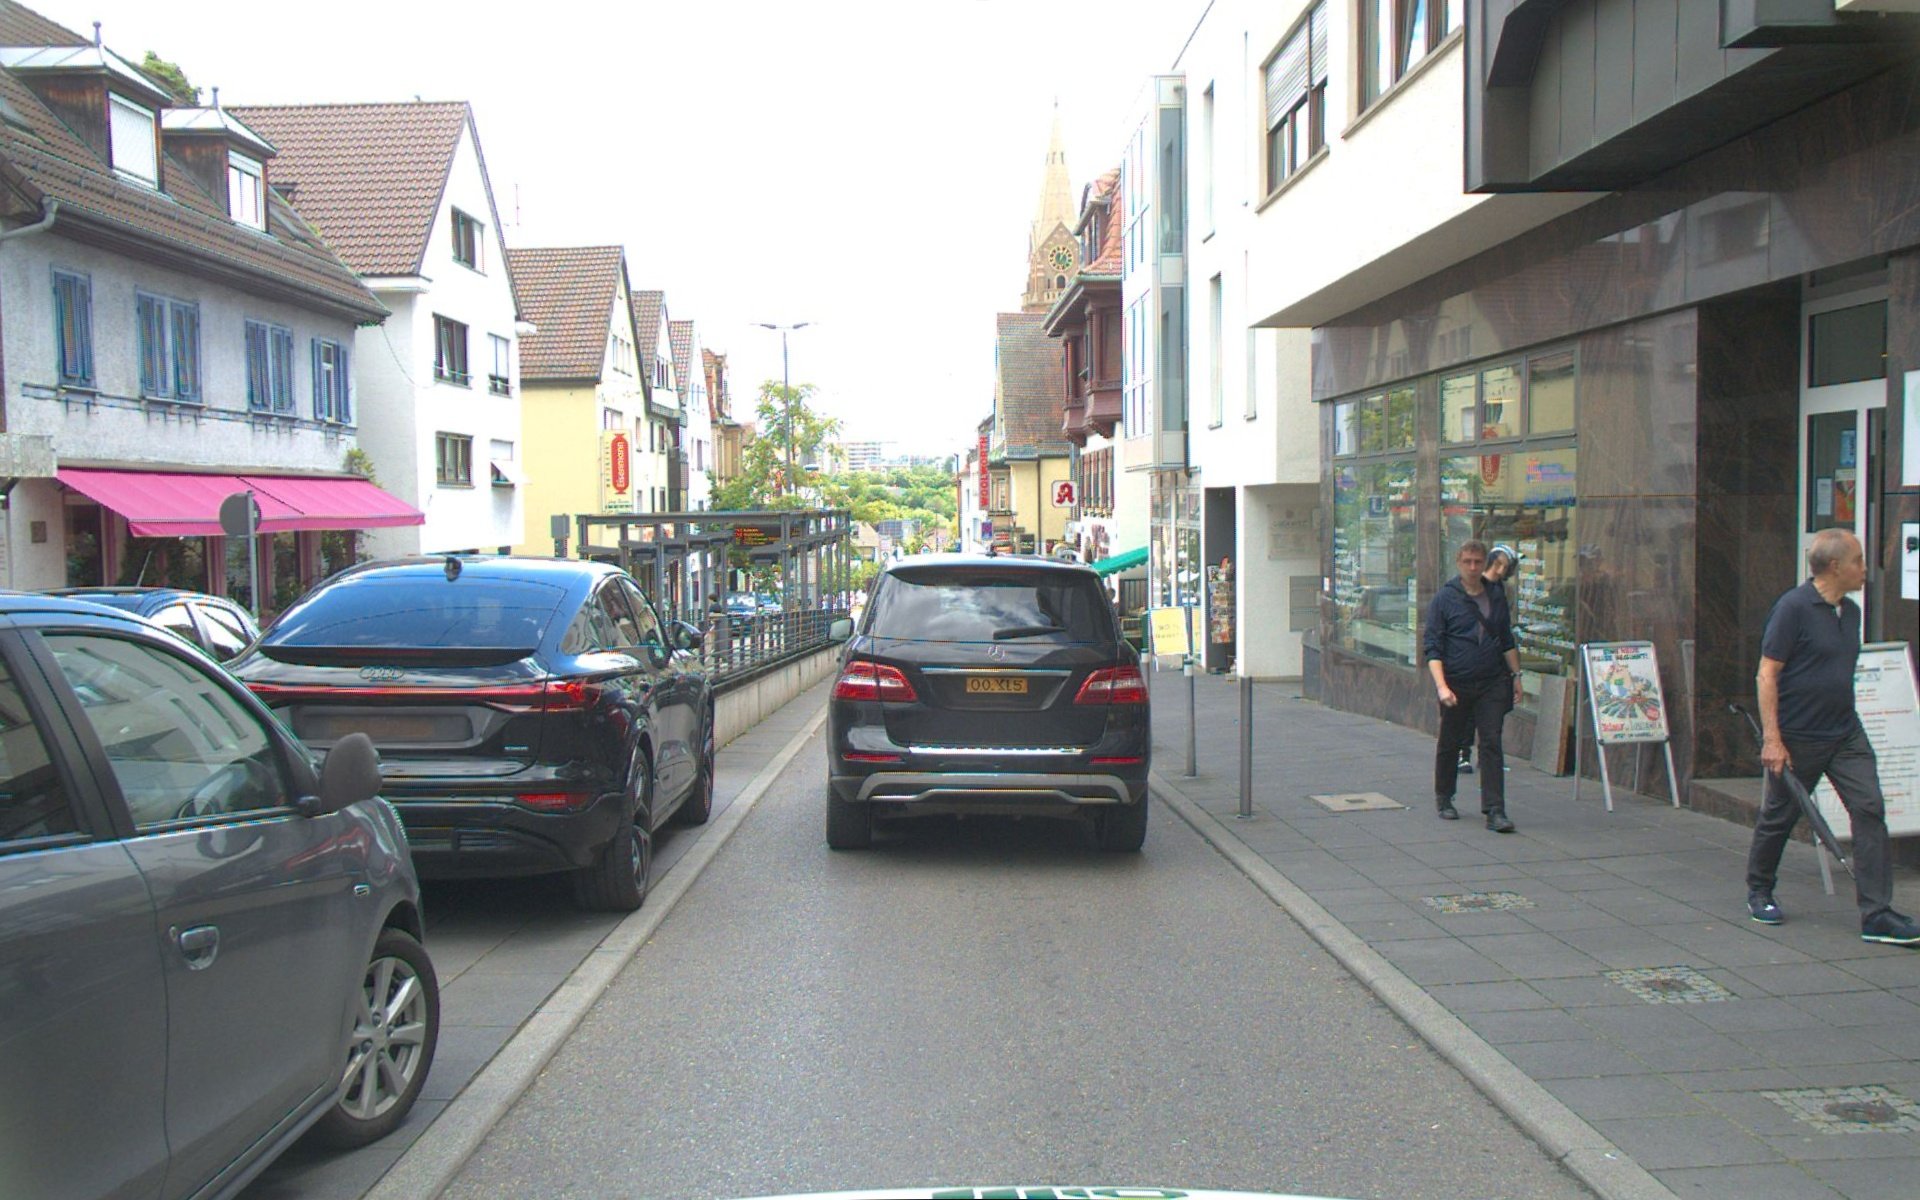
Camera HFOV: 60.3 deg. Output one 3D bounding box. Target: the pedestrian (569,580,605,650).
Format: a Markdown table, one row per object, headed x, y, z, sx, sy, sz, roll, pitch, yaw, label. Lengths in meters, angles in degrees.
| x | y | z | sx | sy | sz | roll | pitch | yaw | label |
| --- | --- | --- | --- | --- | --- | --- | --- | --- | --- |
| -9.246 | 0.363 | 41.015 | 0.710 | 1.718 | 0.768 | 1 | 0 | -2 | pedestrian |

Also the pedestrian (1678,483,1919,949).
| x | y | z | sx | sy | sz | roll | pitch | yaw | label |
| --- | --- | --- | --- | --- | --- | --- | --- | --- | --- |
| 3.514 | 0.443 | 6.813 | 0.697 | 1.784 | 0.785 | -2 | 0 | -1 | pedestrian |

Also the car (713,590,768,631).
| x | y | z | sx | sy | sz | roll | pitch | yaw | label |
| --- | --- | --- | --- | --- | --- | --- | --- | --- | --- |
| -8.516 | 0.399 | 64.546 | 1.655 | 1.516 | 3.978 | 1 | 0 | -1 | car |

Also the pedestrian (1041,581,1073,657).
| x | y | z | sx | sy | sz | roll | pitch | yaw | label |
| --- | --- | --- | --- | --- | --- | --- | --- | --- | --- |
| 2.236 | 0.426 | 38.021 | 0.609 | 1.718 | 0.565 | 1 | 0 | -8 | pedestrian |

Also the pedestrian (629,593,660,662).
| x | y | z | sx | sy | sz | roll | pitch | yaw | label |
| --- | --- | --- | --- | --- | --- | --- | --- | --- | --- |
| -7.993 | 0.687 | 41.897 | 0.606 | 1.718 | 0.557 | 1 | 0 | -32 | pedestrian |

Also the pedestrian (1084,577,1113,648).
| x | y | z | sx | sy | sz | roll | pitch | yaw | label |
| --- | --- | --- | --- | --- | --- | --- | --- | --- | --- |
| 3.392 | 0.312 | 40.515 | 0.562 | 1.718 | 0.565 | 1 | 0 | -8 | pedestrian |

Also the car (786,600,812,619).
| x | y | z | sx | sy | sz | roll | pitch | yaw | label |
| --- | --- | --- | --- | --- | --- | --- | --- | --- | --- |
| -10.140 | 0.594 | 104.362 | 1.360 | 1.089 | 3.112 | -1 | 0 | -1 | car |

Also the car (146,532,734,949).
| x | y | z | sx | sy | sz | roll | pitch | yaw | label |
| --- | --- | --- | --- | --- | --- | --- | --- | --- | --- |
| -2.389 | 0.569 | 8.852 | 1.917 | 1.668 | 4.312 | 1 | 0 | -2 | car |

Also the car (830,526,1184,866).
| x | y | z | sx | sy | sz | roll | pitch | yaw | label |
| --- | --- | --- | --- | --- | --- | --- | --- | --- | --- |
| 0.155 | 0.509 | 10.797 | 1.863 | 1.777 | 3.998 | 1 | 0 | -3 | car |

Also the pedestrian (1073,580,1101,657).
| x | y | z | sx | sy | sz | roll | pitch | yaw | label |
| --- | --- | --- | --- | --- | --- | --- | --- | --- | --- |
| 2.940 | 0.418 | 38.272 | 0.532 | 1.756 | 0.527 | -1 | 0 | -8 | pedestrian |

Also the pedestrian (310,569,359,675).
| x | y | z | sx | sy | sz | roll | pitch | yaw | label |
| --- | --- | --- | --- | --- | --- | --- | --- | --- | --- |
| -10.332 | 0.355 | 27.328 | 0.566 | 1.718 | 0.576 | 1 | 0 | -2 | pedestrian |

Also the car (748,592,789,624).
| x | y | z | sx | sy | sz | roll | pitch | yaw | label |
| --- | --- | --- | --- | --- | --- | --- | --- | --- | --- |
| -9.458 | 0.399 | 81.877 | 1.627 | 1.516 | 3.747 | 1 | 0 | -1 | car |

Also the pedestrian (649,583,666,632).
| x | y | z | sx | sy | sz | roll | pitch | yaw | label |
| --- | --- | --- | --- | --- | --- | --- | --- | --- | --- |
| -10.734 | 0.279 | 58.728 | 0.502 | 1.718 | 0.541 | 1 | 0 | -2 | pedestrian |

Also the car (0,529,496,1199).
| x | y | z | sx | sy | sz | roll | pitch | yaw | label |
| --- | --- | --- | --- | --- | --- | --- | --- | --- | --- |
| -2.181 | 0.664 | 3.199 | 1.587 | 1.559 | 3.669 | 1 | 0 | -1 | car |

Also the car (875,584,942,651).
| x | y | z | sx | sy | sz | roll | pitch | yaw | label |
| --- | --- | --- | --- | --- | --- | --- | --- | --- | --- |
| -1.423 | 0.455 | 45.910 | 1.734 | 1.743 | 3.999 | 1 | 0 | -2 | car |

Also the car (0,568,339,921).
| x | y | z | sx | sy | sz | roll | pitch | yaw | label |
| --- | --- | --- | --- | --- | --- | --- | --- | --- | --- |
| -4.894 | 0.597 | 8.943 | 1.704 | 1.501 | 3.882 | 1 | 0 | -2 | car |

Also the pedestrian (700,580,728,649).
| x | y | z | sx | sy | sz | roll | pitch | yaw | label |
| --- | --- | --- | --- | --- | --- | --- | --- | --- | --- |
| -6.223 | 0.361 | 41.861 | 0.613 | 1.718 | 0.678 | 1 | 0 | -2 | pedestrian |

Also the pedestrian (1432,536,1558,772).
| x | y | z | sx | sy | sz | roll | pitch | yaw | label |
| --- | --- | --- | --- | --- | --- | --- | --- | --- | --- |
| 4.086 | 0.400 | 12.661 | 0.650 | 1.718 | 0.542 | -4 | 1 | -8 | pedestrian |

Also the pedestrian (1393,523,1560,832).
| x | y | z | sx | sy | sz | roll | pitch | yaw | label |
| --- | --- | --- | --- | --- | --- | --- | --- | --- | --- |
| 3.143 | 0.453 | 10.134 | 0.697 | 1.784 | 0.787 | -2 | 0 | -1 | pedestrian |

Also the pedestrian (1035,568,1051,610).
| x | y | z | sx | sy | sz | roll | pitch | yaw | label |
| --- | --- | --- | --- | --- | --- | --- | --- | --- | --- |
| 3.393 | -0.442 | 67.753 | 0.594 | 1.718 | 0.724 | -1 | 0 | -2 | pedestrian |

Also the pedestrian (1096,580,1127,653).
| x | y | z | sx | sy | sz | roll | pitch | yaw | label |
| --- | --- | --- | --- | --- | --- | --- | --- | --- | --- |
| 3.625 | 0.390 | 39.645 | 0.562 | 1.718 | 0.565 | -2 | 0 | -8 | pedestrian |
